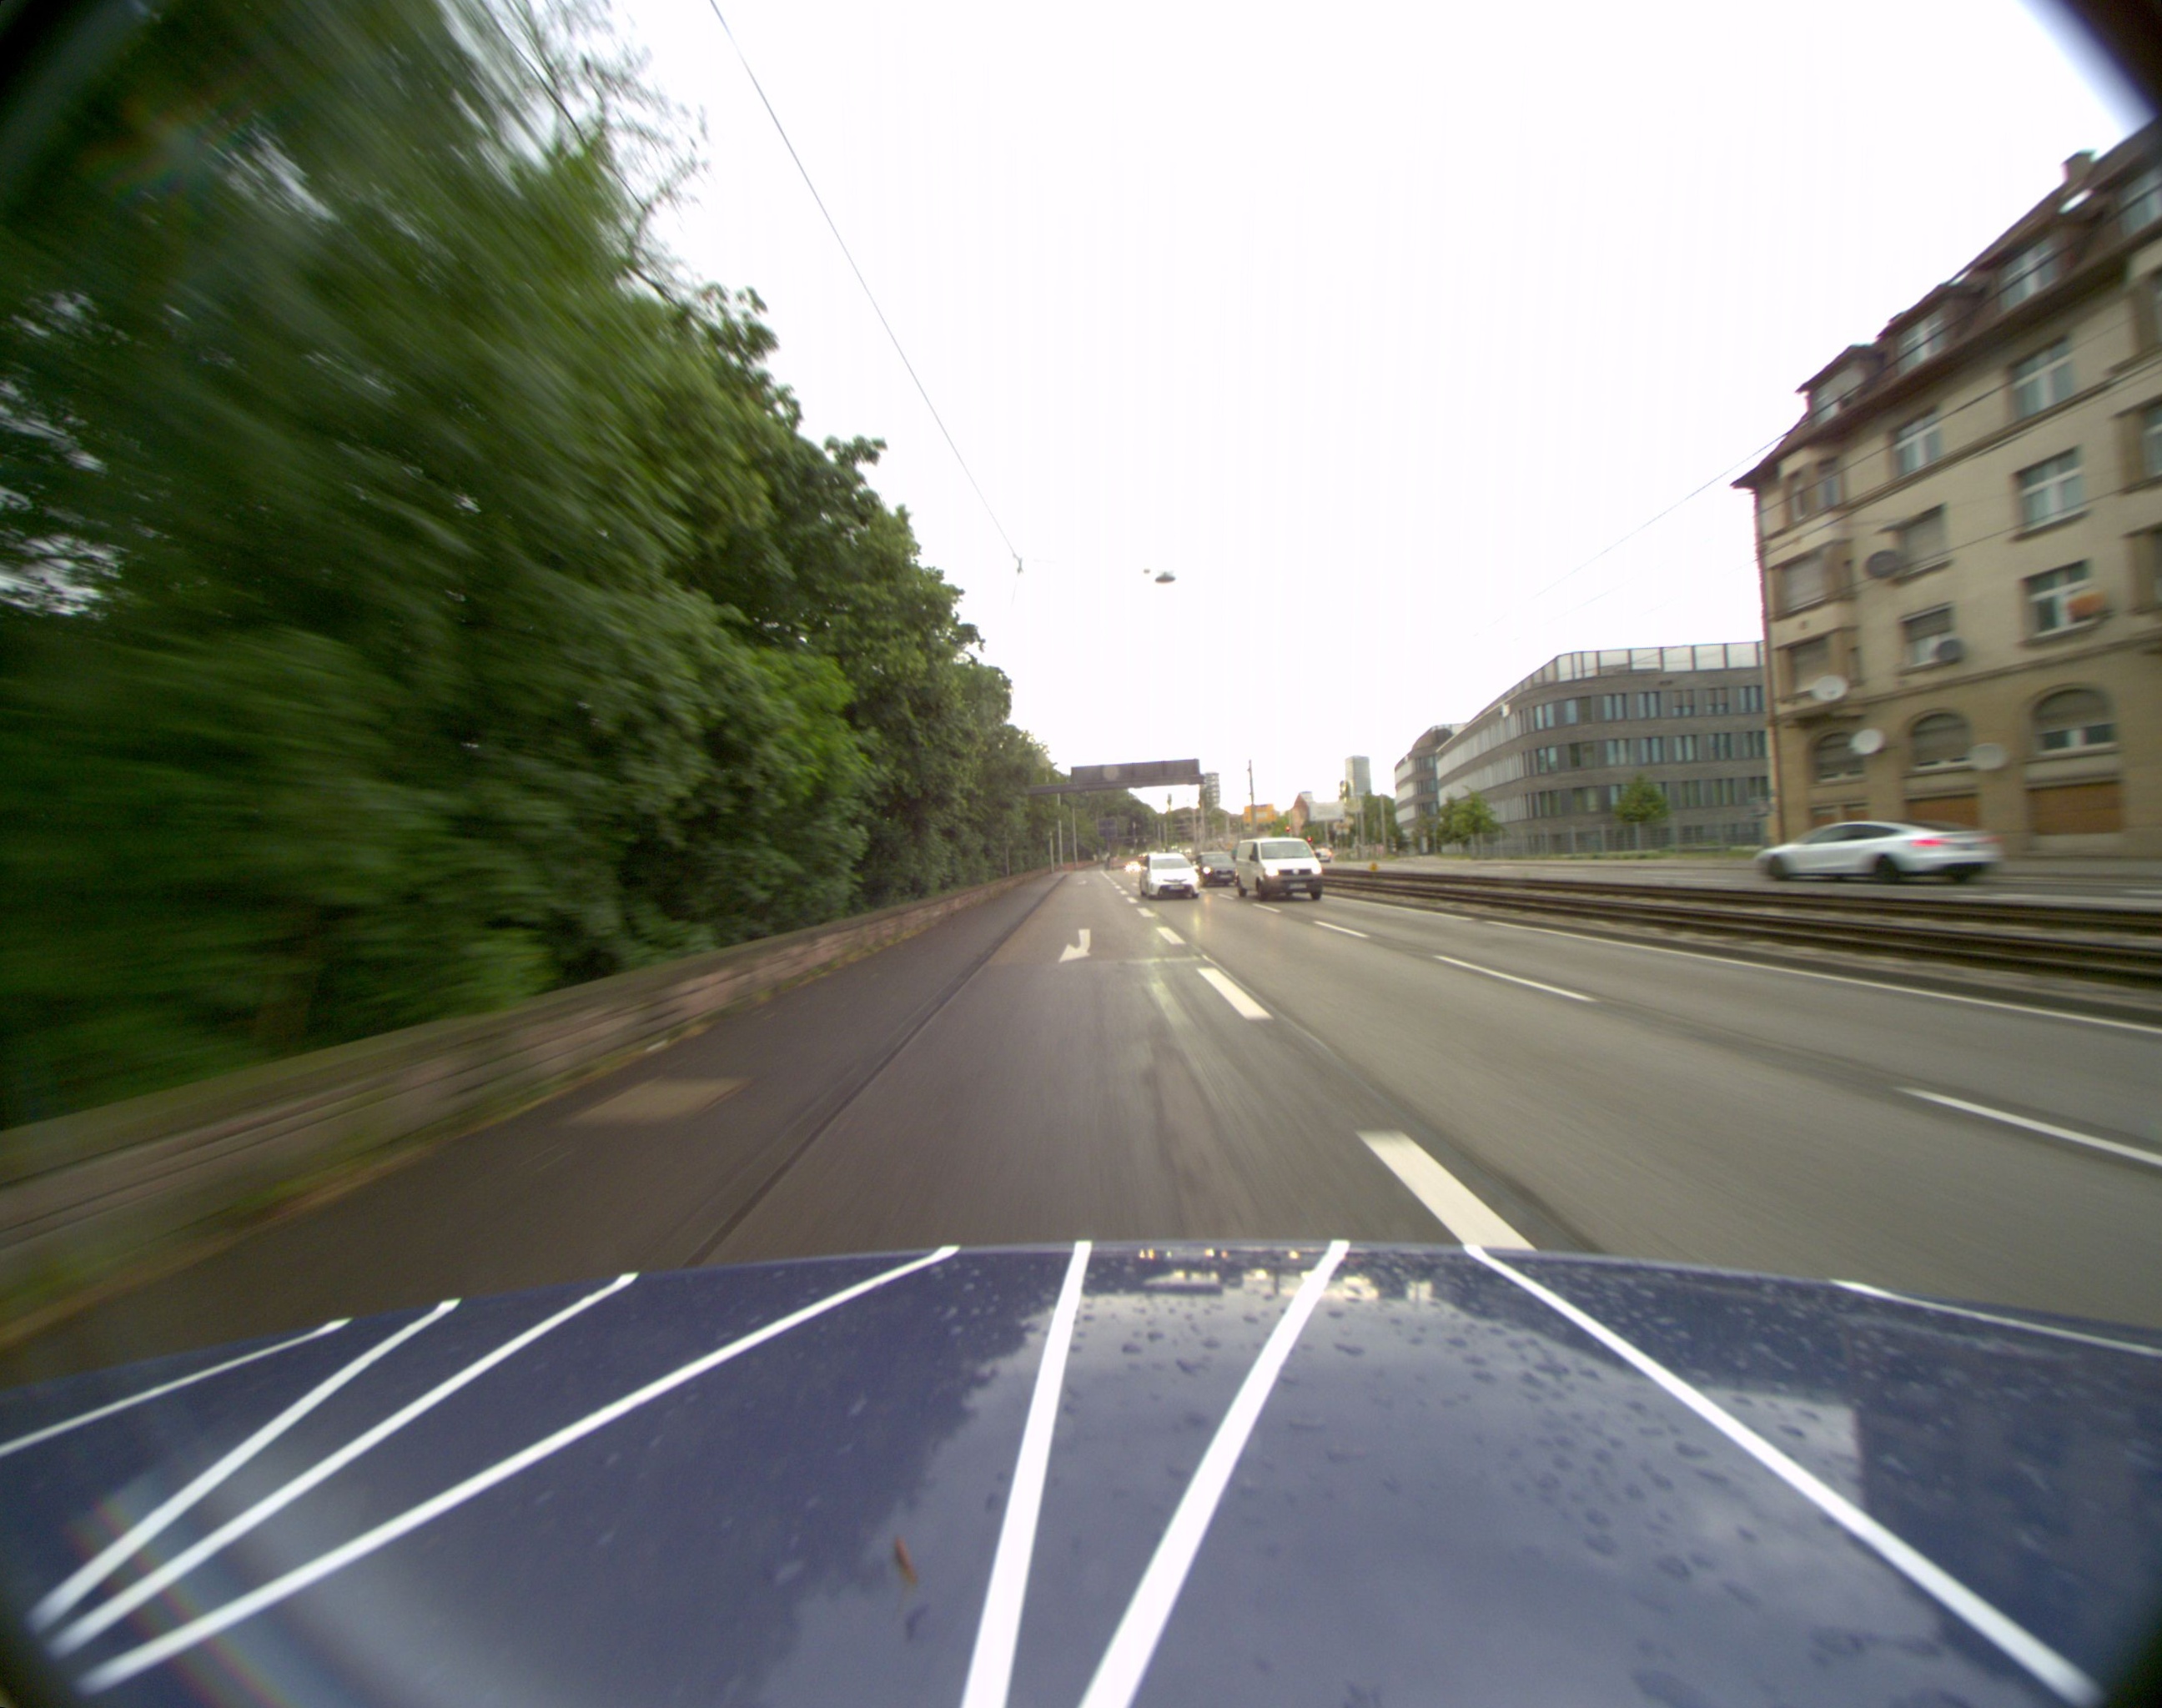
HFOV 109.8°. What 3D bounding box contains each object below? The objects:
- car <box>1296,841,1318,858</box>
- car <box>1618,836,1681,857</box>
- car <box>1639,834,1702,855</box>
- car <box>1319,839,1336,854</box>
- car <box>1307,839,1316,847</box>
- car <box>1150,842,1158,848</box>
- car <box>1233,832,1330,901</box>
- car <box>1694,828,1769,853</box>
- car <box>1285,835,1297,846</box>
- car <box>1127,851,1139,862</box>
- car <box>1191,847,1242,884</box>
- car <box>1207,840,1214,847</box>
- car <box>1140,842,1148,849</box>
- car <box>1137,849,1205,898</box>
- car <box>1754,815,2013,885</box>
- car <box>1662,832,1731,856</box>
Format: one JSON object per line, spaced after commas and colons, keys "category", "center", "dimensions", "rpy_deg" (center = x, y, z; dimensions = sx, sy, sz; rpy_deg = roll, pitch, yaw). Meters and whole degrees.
{"category": "car", "center": [23.099, -0.458, 77.800], "dimensions": [1.748, 1.587, 4.492], "rpy_deg": [-3, 0, 12]}
{"category": "car", "center": [38.642, -0.501, 51.744], "dimensions": [1.622, 1.327, 3.568], "rpy_deg": [-2, 1, 0]}
{"category": "car", "center": [40.408, -0.662, 52.166], "dimensions": [1.545, 1.374, 3.568], "rpy_deg": [-2, 1, 0]}
{"category": "car", "center": [31.053, -0.955, 95.764], "dimensions": [1.834, 1.787, 4.220], "rpy_deg": [-1, 0, 16]}
{"category": "car", "center": [49.522, -2.345, 163.198], "dimensions": [1.834, 1.787, 4.220], "rpy_deg": [-1, 0, 15]}
{"category": "car", "center": [23.500, -2.872, 244.092], "dimensions": [1.998, 2.002, 3.999], "rpy_deg": [-2, 1, 0]}
{"category": "car", "center": [6.366, 0.357, 24.708], "dimensions": [1.914, 1.947, 4.718], "rpy_deg": [-3, 0, 1]}
{"category": "car", "center": [44.978, -0.911, 52.629], "dimensions": [1.745, 1.644, 3.999], "rpy_deg": [-2, 1, 0]}
{"category": "car", "center": [48.733, -3.081, 176.645], "dimensions": [2.335, 2.453, 7.032], "rpy_deg": [-2, 1, 13]}
{"category": "car", "center": [8.629, 0.389, 126.190], "dimensions": [1.710, 1.585, 4.000], "rpy_deg": [-3, 0, 1]}
{"category": "car", "center": [6.303, 0.518, 35.682], "dimensions": [1.708, 1.564, 3.896], "rpy_deg": [-2, 0, 1]}
{"category": "car", "center": [39.503, -3.118, 231.385], "dimensions": [1.997, 1.936, 4.002], "rpy_deg": [-2, 1, 9]}
{"category": "car", "center": [20.537, -2.770, 247.297], "dimensions": [1.998, 2.002, 3.999], "rpy_deg": [-2, 1, 0]}
{"category": "car", "center": [3.191, 0.642, 27.734], "dimensions": [1.982, 1.564, 4.319], "rpy_deg": [-2, 0, 1]}
{"category": "car", "center": [20.496, -0.110, 19.782], "dimensions": [1.725, 1.583, 4.742], "rpy_deg": [-1, 0, 0]}
{"category": "car", "center": [42.417, -0.718, 52.469], "dimensions": [1.745, 1.535, 3.788], "rpy_deg": [-2, 1, 0]}
